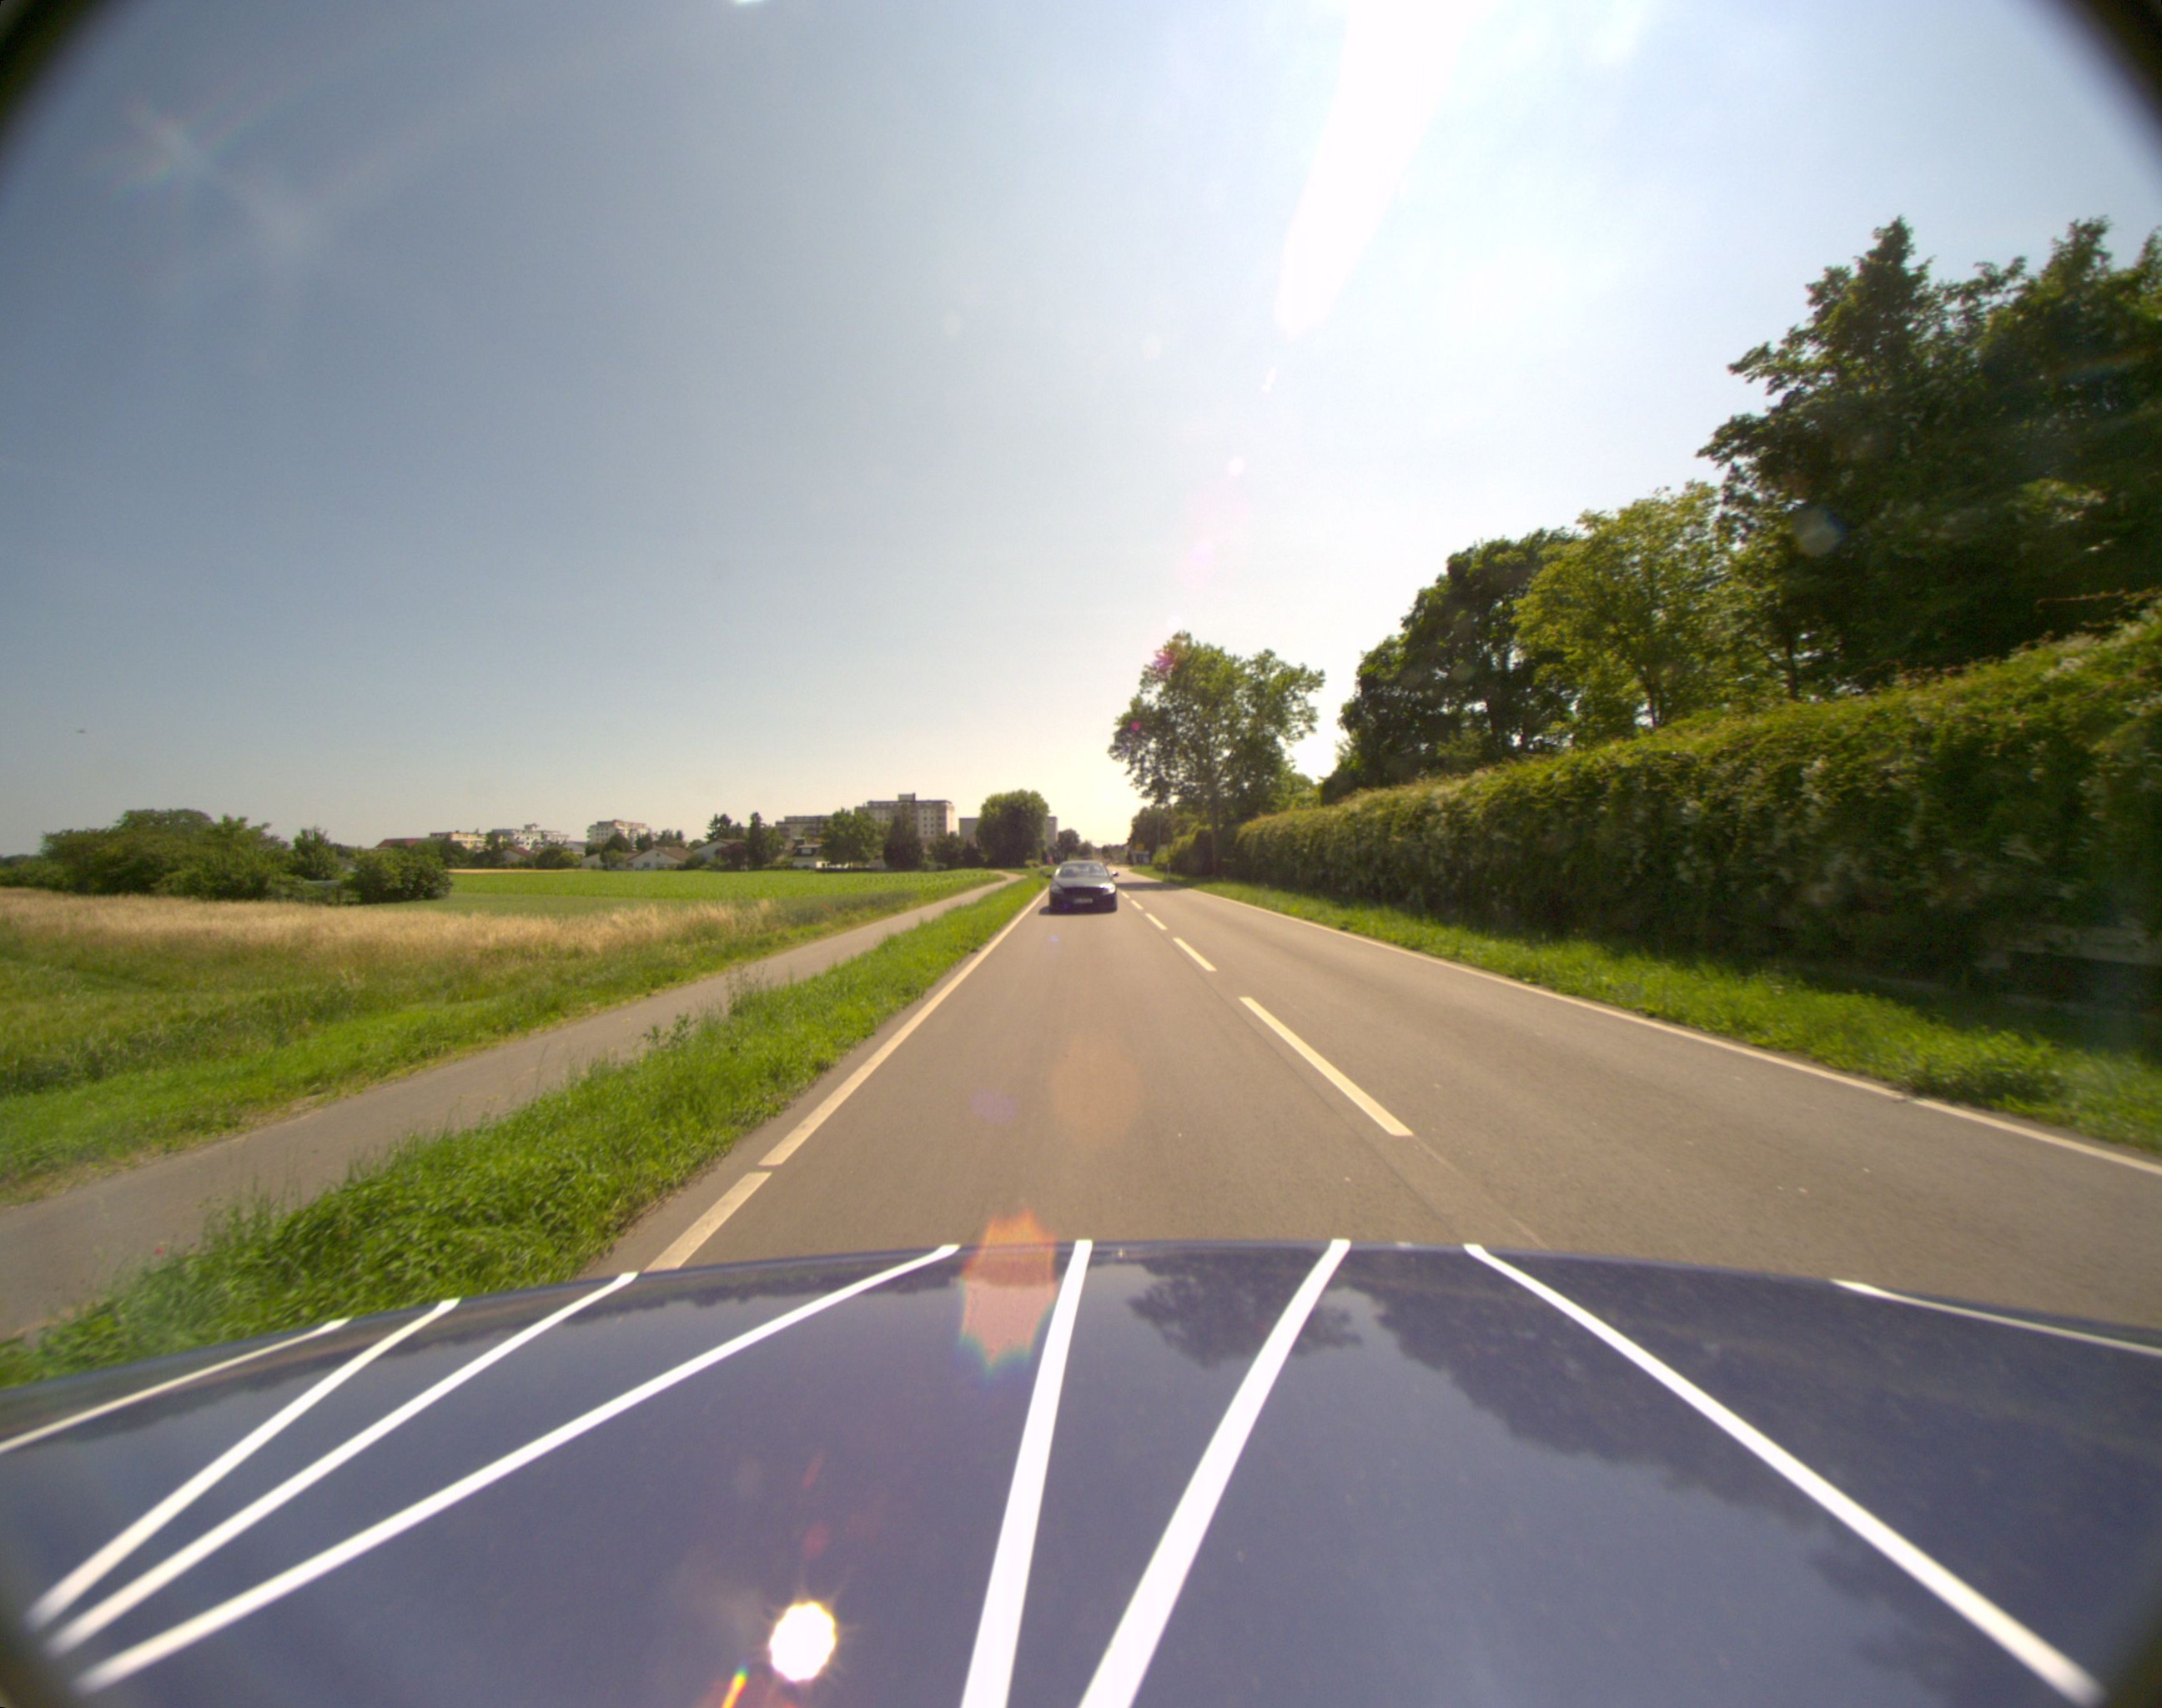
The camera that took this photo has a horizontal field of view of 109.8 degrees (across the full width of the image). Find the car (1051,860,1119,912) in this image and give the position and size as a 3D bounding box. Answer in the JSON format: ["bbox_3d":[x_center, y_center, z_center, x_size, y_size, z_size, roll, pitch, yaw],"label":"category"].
[{"bbox_3d":[0.011,0.926,24.194,1.889,1.429,4.837,-2,0,-3],"label":"car"}]

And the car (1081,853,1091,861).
[{"bbox_3d":[1.204,0.773,179.705,2.150,1.939,5.247,0,0,0],"label":"car"}]
